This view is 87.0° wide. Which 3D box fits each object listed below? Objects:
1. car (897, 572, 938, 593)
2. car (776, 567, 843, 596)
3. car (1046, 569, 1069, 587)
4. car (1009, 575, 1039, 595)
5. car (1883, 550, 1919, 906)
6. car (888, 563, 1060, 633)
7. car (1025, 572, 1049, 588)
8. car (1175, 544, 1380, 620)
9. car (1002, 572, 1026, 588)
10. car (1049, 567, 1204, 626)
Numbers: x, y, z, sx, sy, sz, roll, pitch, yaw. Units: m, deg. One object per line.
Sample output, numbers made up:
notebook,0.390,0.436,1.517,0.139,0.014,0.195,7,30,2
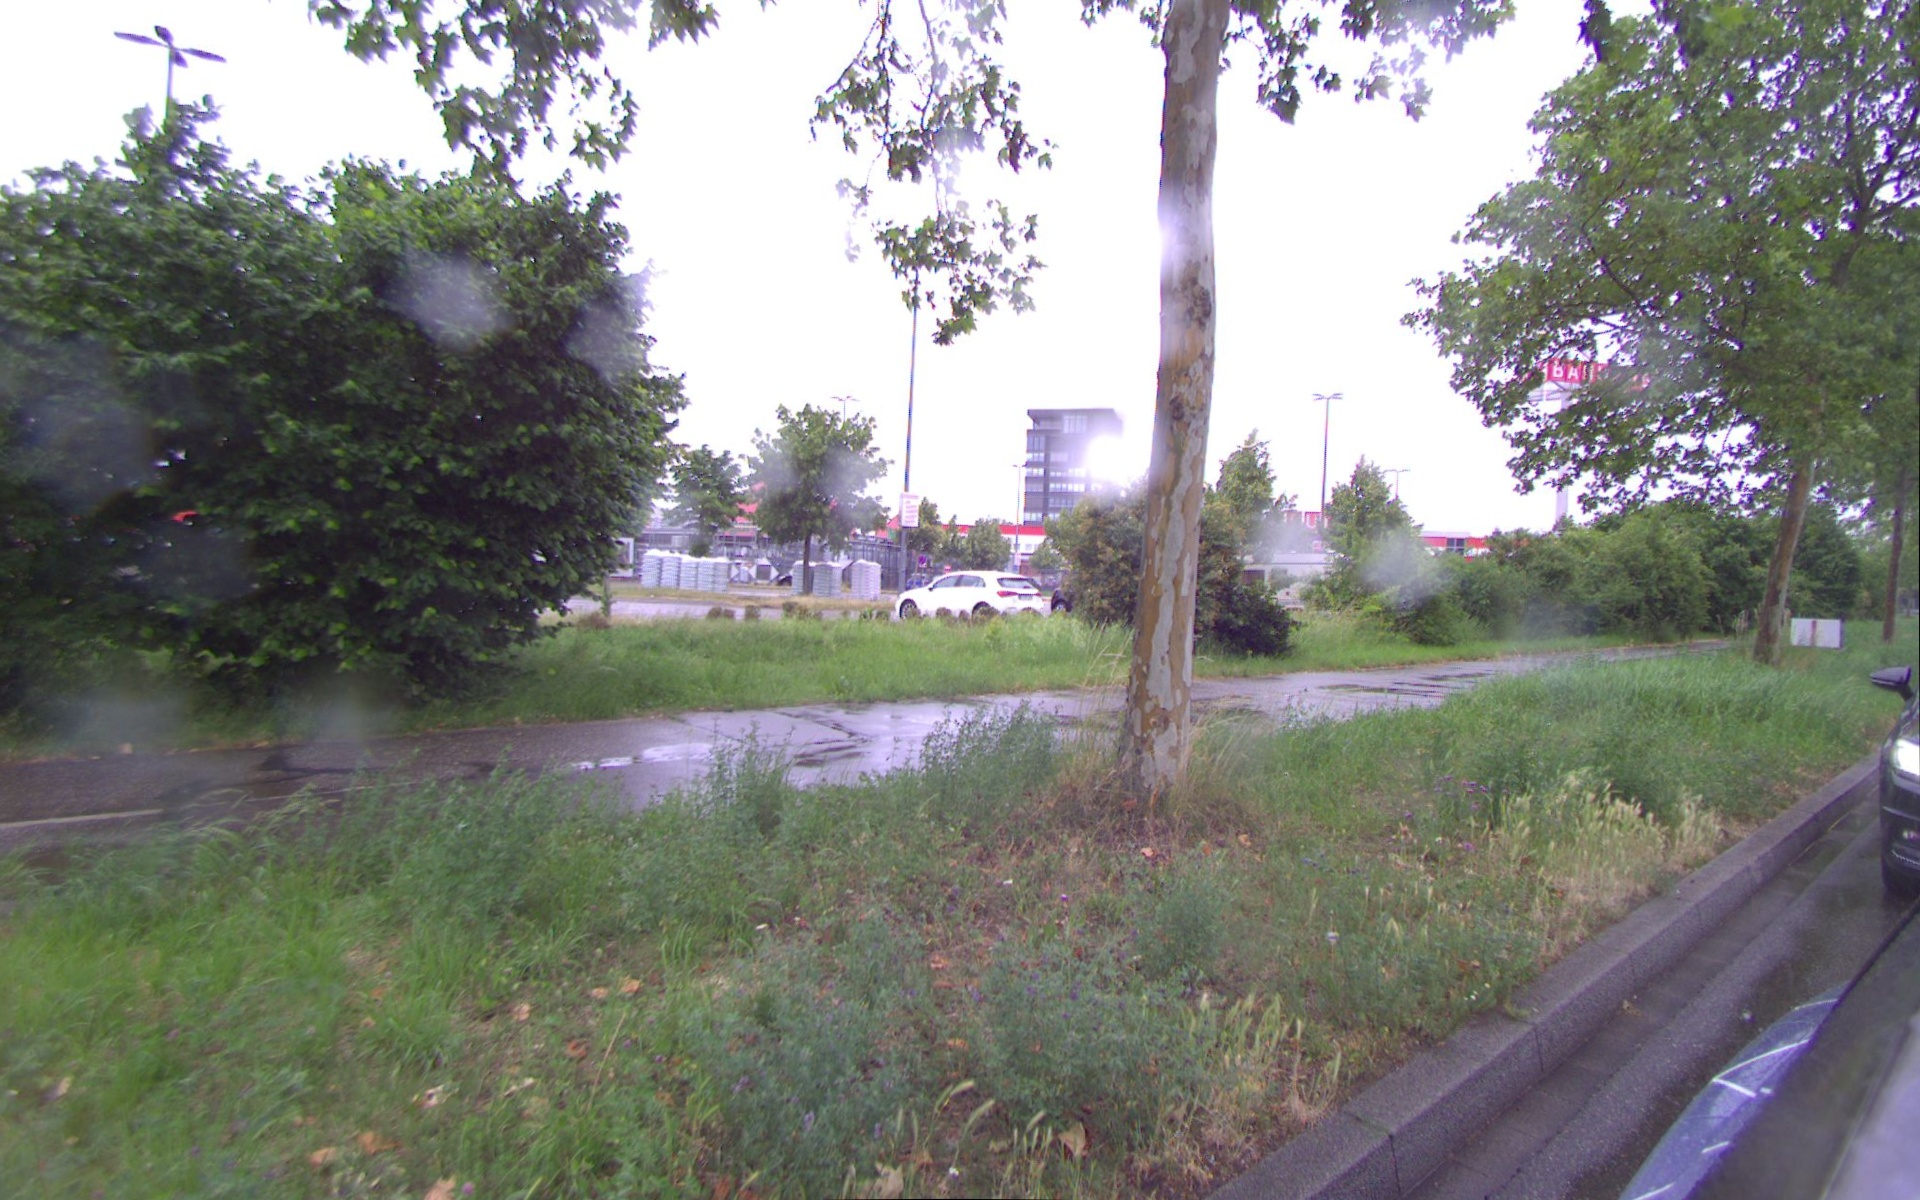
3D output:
car,-3.286,-1.396,79.248,1.905,1.571,4.249,2,2,18
car,-9.172,-1.105,61.844,3.723,1.739,1.685,0,0,13
car,9.632,-2.205,99.841,1.970,1.697,4.263,2,2,9
car,6.030,-1.437,94.717,1.973,1.697,4.255,2,2,14
car,6.557,0.582,5.608,4.548,1.625,1.768,0,0,-43
car,0.286,-0.105,25.933,1.899,1.571,4.262,0,2,-45
car,8.499,-2.272,111.893,1.973,1.697,4.257,2,2,13
car,10.952,-0.698,35.277,6.399,2.392,2.357,3,2,41
car,6.005,-2.264,112.493,1.973,1.697,4.257,2,2,13
car,4.928,-0.147,30.288,1.899,1.571,4.262,0,2,-45
